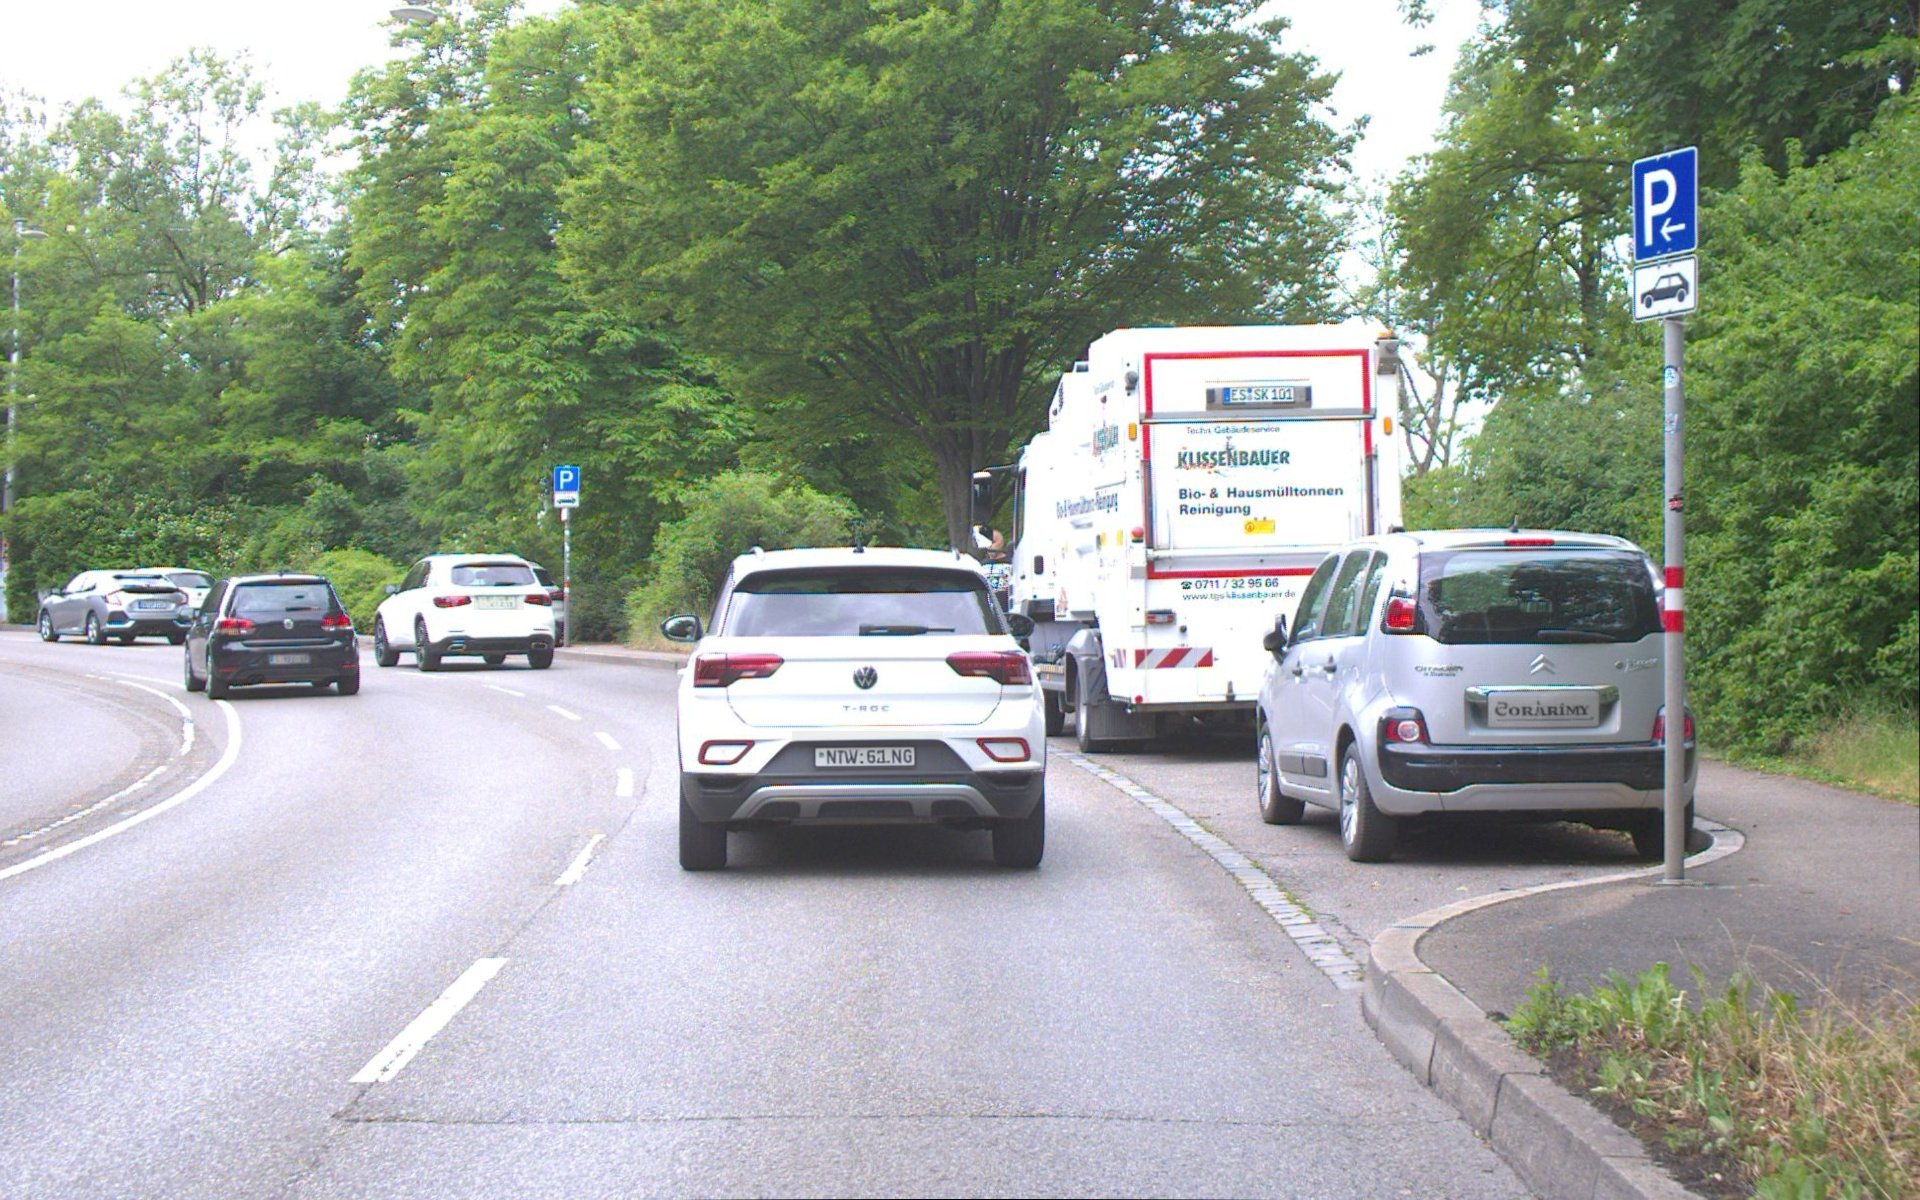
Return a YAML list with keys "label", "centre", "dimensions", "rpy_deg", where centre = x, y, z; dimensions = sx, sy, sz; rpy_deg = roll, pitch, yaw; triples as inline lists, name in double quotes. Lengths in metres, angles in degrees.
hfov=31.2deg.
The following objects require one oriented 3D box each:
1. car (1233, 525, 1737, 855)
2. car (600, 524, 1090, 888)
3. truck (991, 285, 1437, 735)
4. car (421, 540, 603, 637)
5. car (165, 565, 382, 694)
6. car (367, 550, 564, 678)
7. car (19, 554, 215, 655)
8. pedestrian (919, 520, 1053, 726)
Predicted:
- label: "car"
  centre: [2.638, 0.415, 18.207]
  dimensions: [1.802, 1.519, 4.000]
  rpy_deg: [-1, 0, -3]
- label: "car"
  centre: [-0.725, 0.478, 17.774]
  dimensions: [2.000, 1.590, 4.001]
  rpy_deg: [3, 0, -9]
- label: "truck"
  centre: [1.840, -0.666, 27.971]
  dimensions: [2.481, 3.171, 7.230]
  rpy_deg: [0, 0, -5]
- label: "car"
  centre: [-7.965, -0.221, 60.810]
  dimensions: [1.758, 1.646, 4.381]
  rpy_deg: [-1, 1, -28]
- label: "car"
  centre: [-8.316, 0.340, 41.378]
  dimensions: [1.949, 1.461, 4.001]
  rpy_deg: [0, 0, -20]
- label: "car"
  centre: [-7.138, 0.161, 49.296]
  dimensions: [1.851, 1.697, 4.001]
  rpy_deg: [-1, 2, -22]
- label: "car"
  centre: [-16.087, 0.073, 65.498]
  dimensions: [1.994, 1.711, 3.999]
  rpy_deg: [3, 0, -40]
- label: "pedestrian"
  centre: [0.242, 0.220, 33.594]
  dimensions: [0.917, 1.827, 0.984]
  rpy_deg: [12, 0, -1]
